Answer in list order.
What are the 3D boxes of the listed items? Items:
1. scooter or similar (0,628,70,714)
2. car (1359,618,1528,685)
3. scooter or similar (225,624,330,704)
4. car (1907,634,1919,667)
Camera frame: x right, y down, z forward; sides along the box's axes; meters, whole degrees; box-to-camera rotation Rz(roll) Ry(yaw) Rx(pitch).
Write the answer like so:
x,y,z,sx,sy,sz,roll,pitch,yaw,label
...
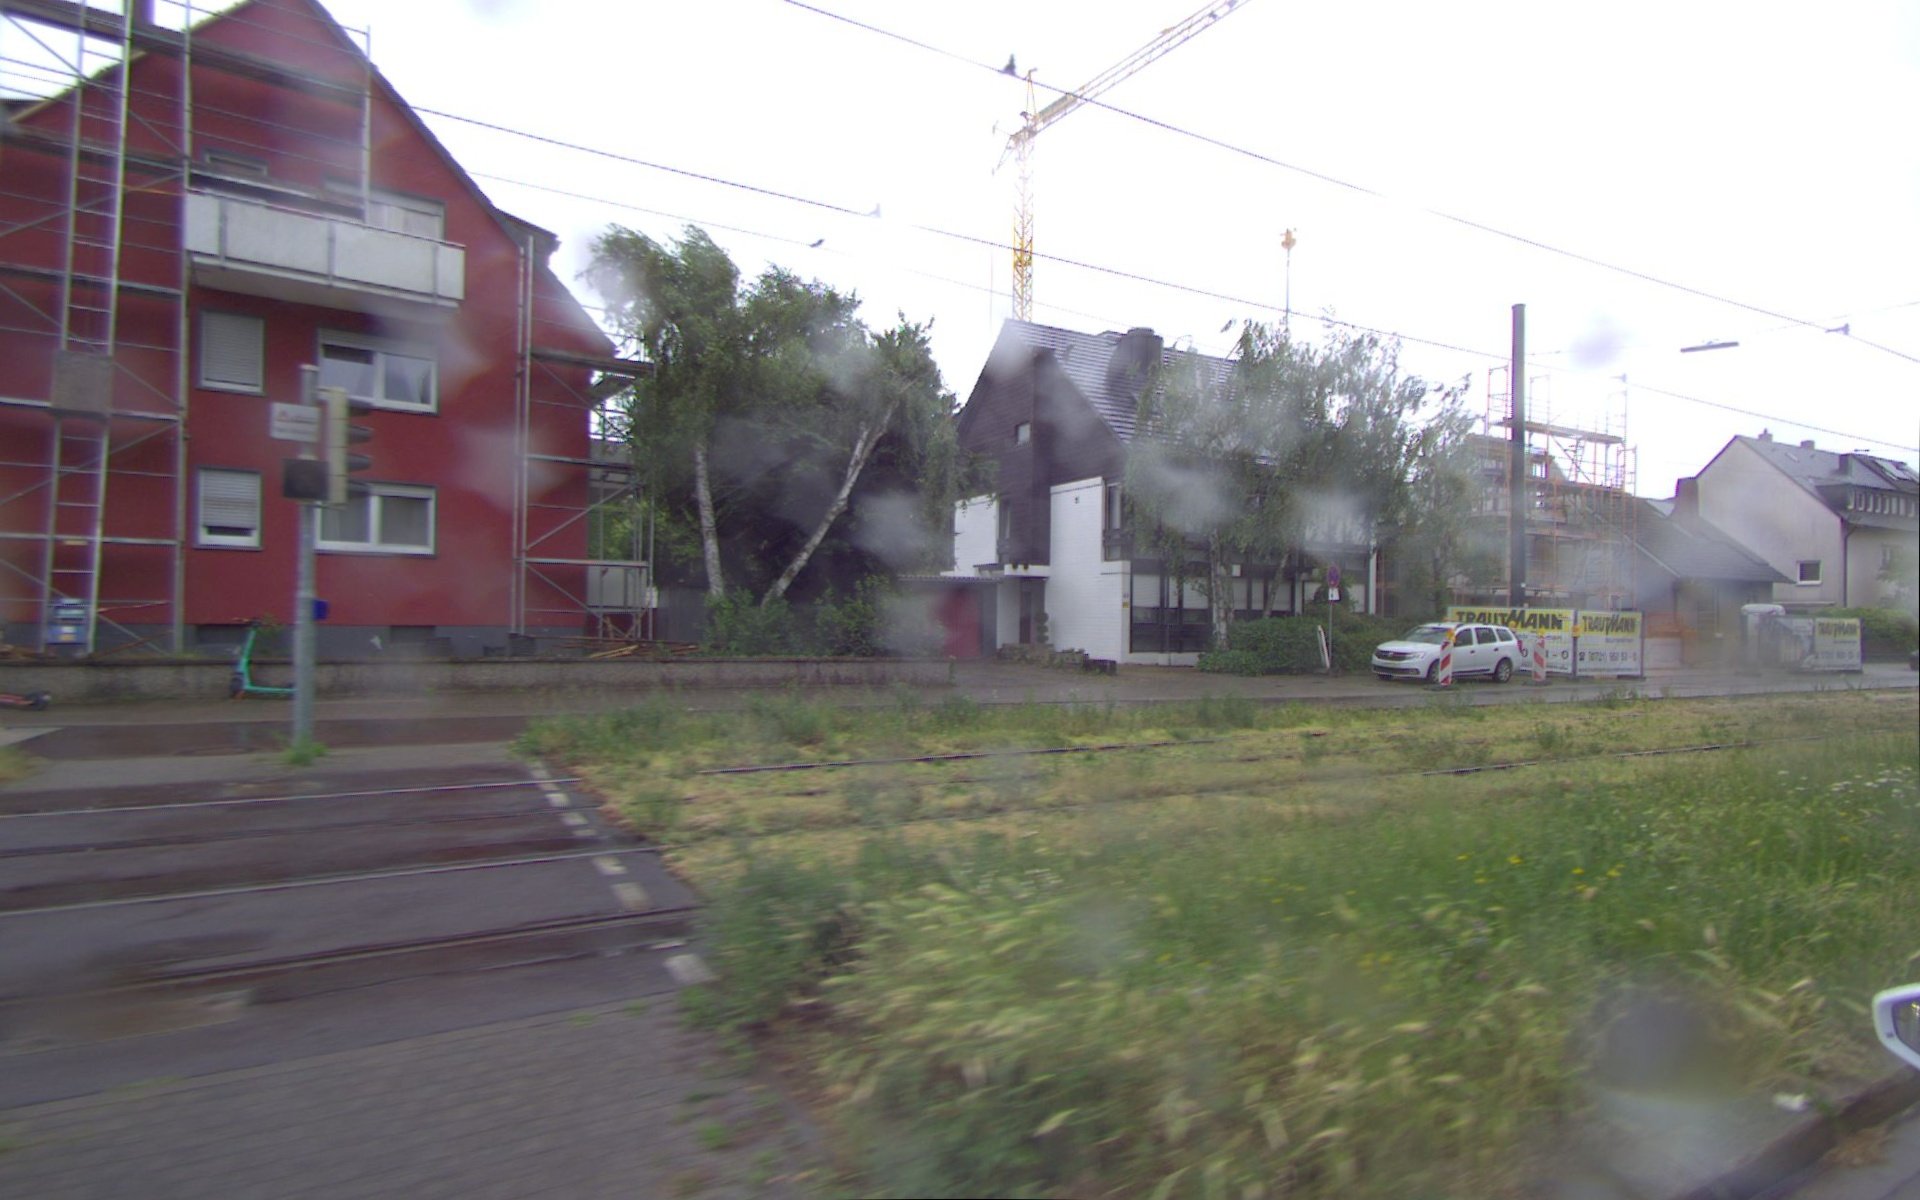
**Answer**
x,y,z,sx,sy,sz,roll,pitch,yaw,label
-13.134,0.970,13.890,1.257,1.144,0.441,1,-1,1,scooter or similar
12.726,1.319,26.389,4.365,1.563,1.704,1,1,-27,car
-10.568,0.987,15.587,1.261,1.196,0.394,1,-1,-14,scooter or similar
38.799,2.005,39.051,4.020,1.261,1.657,1,1,-28,car
